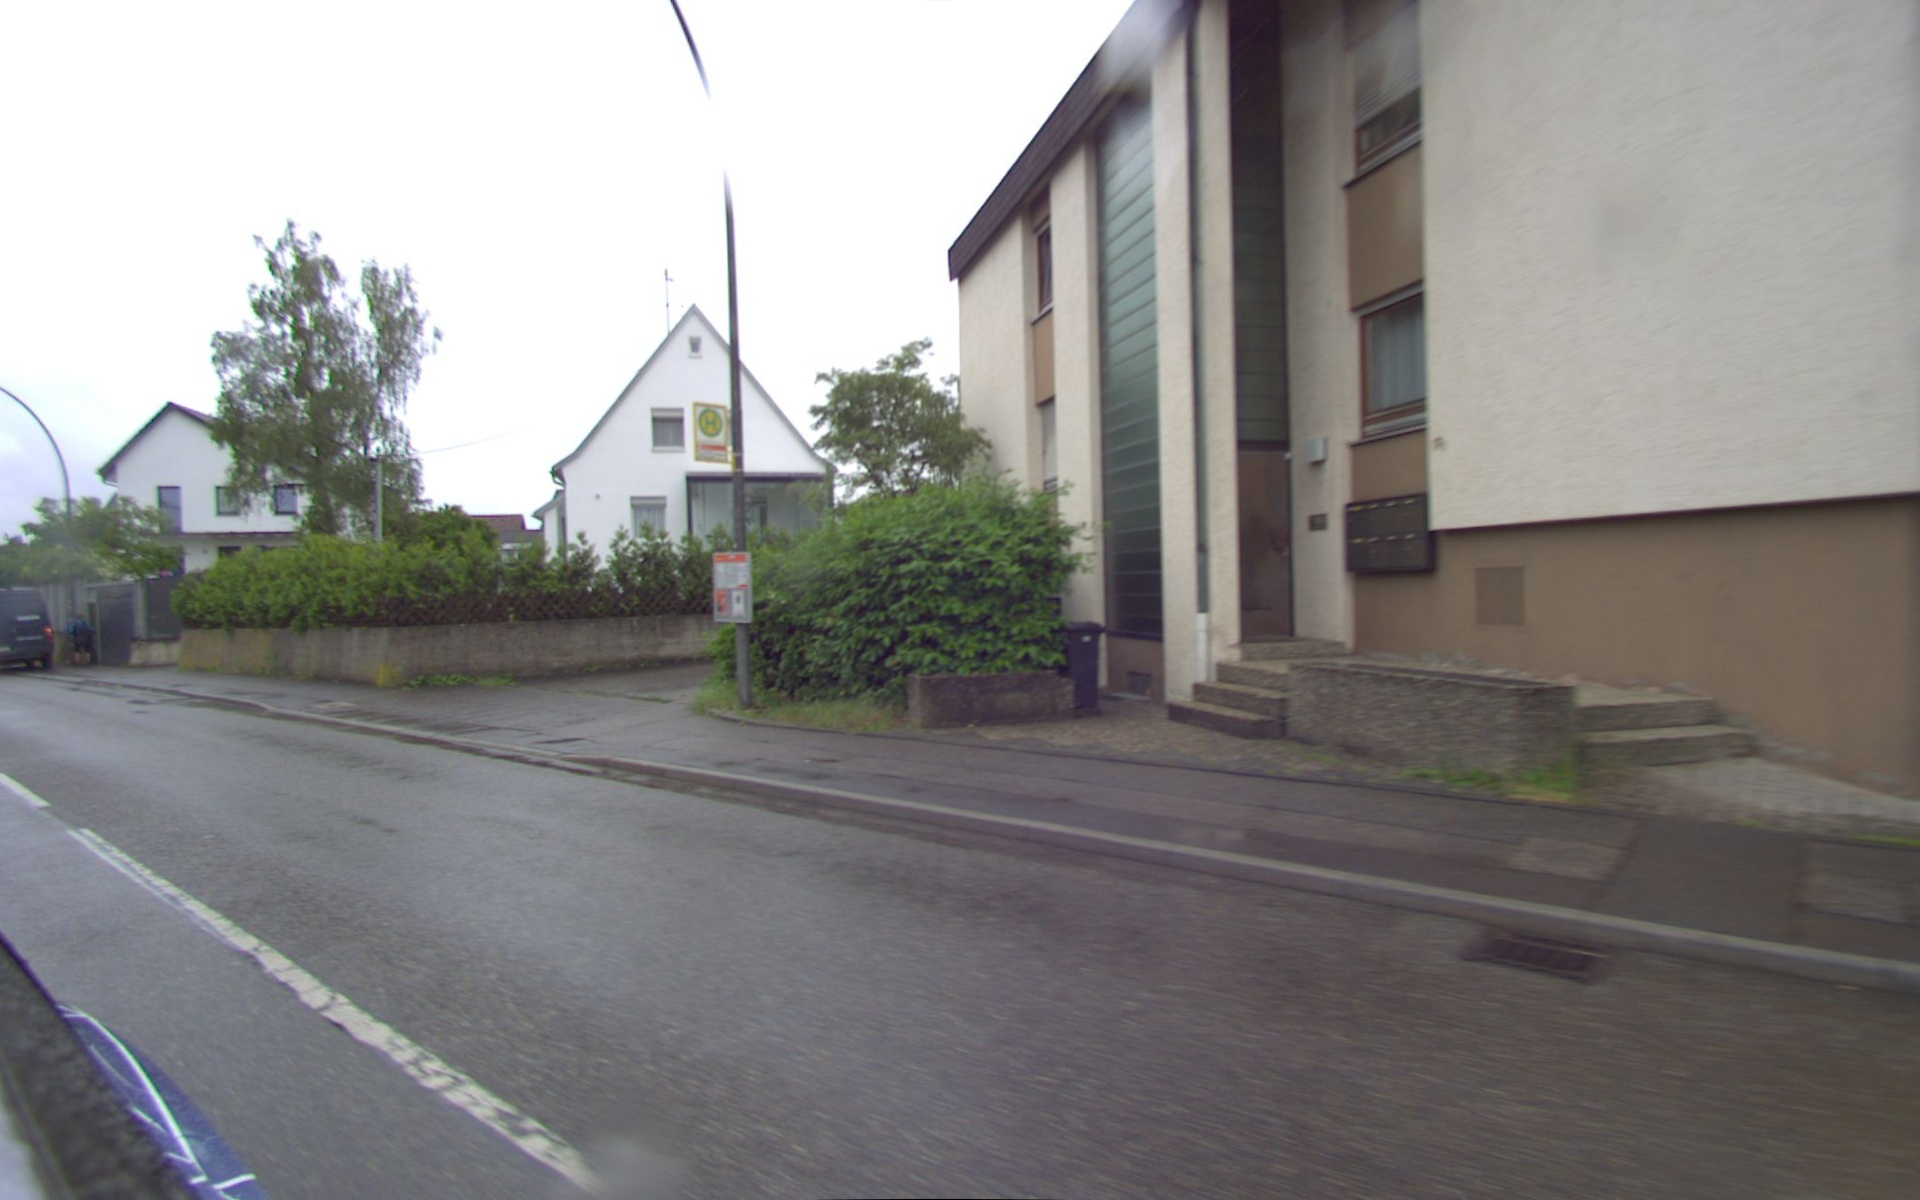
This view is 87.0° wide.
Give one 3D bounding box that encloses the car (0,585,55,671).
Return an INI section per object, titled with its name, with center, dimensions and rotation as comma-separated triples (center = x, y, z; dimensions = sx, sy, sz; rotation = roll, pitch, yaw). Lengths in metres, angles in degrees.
[car]
center = -32.472, 0.978, 34.073
dimensions = 5.913, 2.668, 2.073
rotation = -2, 1, 40

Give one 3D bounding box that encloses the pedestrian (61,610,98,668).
[pedestrian]
center = -29.659, 1.307, 34.095
dimensions = 0.669, 1.900, 0.812
rotation = -1, 0, -20
